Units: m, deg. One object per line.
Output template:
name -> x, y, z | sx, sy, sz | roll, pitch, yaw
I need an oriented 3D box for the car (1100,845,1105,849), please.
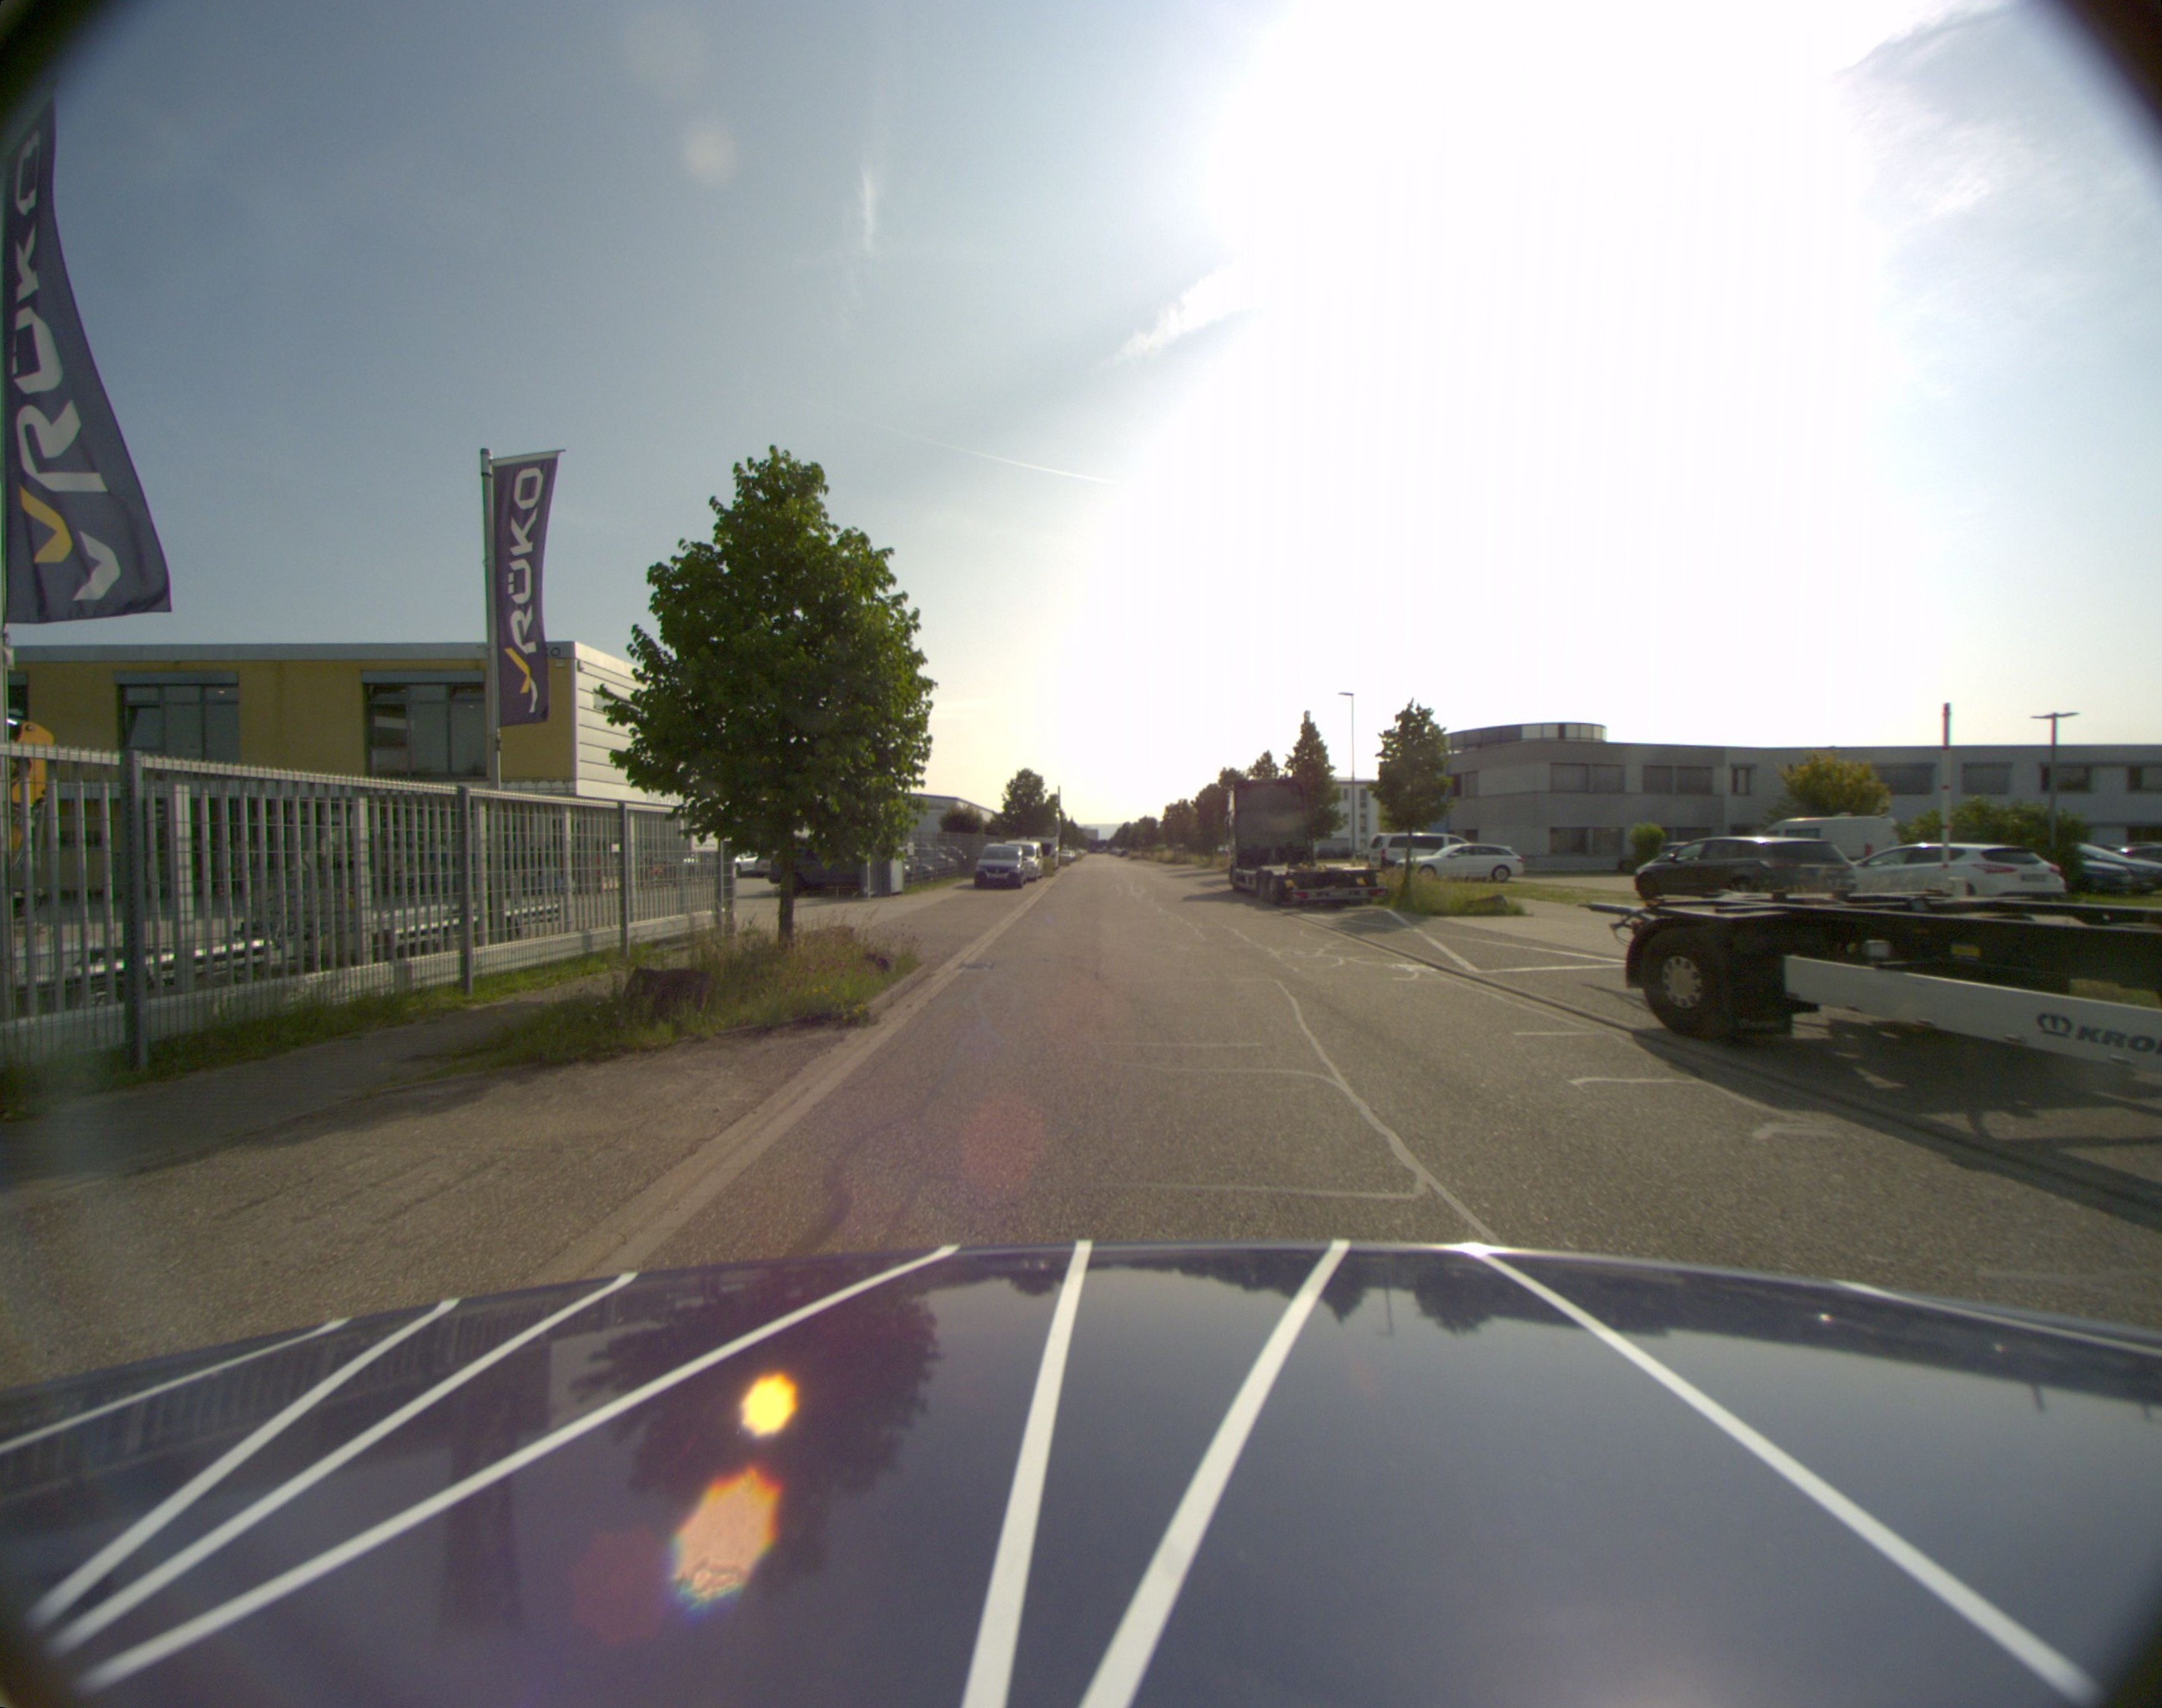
car -> 7.194, -2.292, 250.805 | 1.668, 1.495, 3.540 | -1, 2, 1

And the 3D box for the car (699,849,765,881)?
car -> -19.613, 0.559, 42.924 | 1.894, 1.681, 4.369 | -1, 0, -4

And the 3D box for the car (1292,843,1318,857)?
car -> 26.136, -0.468, 88.759 | 1.910, 1.609, 3.918 | -1, 1, 2

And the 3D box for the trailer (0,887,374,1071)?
trailer -> -9.213, 1.028, 6.693 | 1.949, 1.236, 4.293 | 0, 1, 0

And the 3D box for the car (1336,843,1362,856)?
car -> 31.067, -0.488, 88.235 | 1.758, 1.459, 3.918 | -1, 1, 2

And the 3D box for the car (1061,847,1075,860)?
car -> -1.584, -0.085, 93.100 | 1.668, 1.495, 3.541 | 1, 1, 0

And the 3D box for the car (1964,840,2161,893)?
car -> 30.723, 0.334, 23.570 | 1.709, 1.507, 4.212 | 0, 1, 0

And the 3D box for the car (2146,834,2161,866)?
car -> 57.186, -0.201, 38.156 | 1.801, 1.679, 3.999 | 0, 1, 0

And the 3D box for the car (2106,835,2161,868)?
car -> 55.011, -0.123, 38.104 | 1.801, 1.679, 3.999 | 0, 1, 0

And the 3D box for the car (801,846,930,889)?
car -> -7.855, 0.494, 28.010 | 4.236, 1.487, 1.899 | -1, 0, -3

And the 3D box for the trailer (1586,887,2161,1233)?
trailer -> 5.706, 0.980, 3.517 | 2.135, 1.225, 7.157 | -2, 0, 2

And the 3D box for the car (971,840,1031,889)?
car -> -3.036, 0.347, 29.496 | 1.830, 1.710, 4.247 | -1, 2, 0

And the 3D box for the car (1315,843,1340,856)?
car -> 28.740, -0.483, 88.579 | 1.758, 1.459, 3.918 | -1, 1, 2

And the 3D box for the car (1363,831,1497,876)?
car -> 14.762, -0.041, 32.353 | 4.716, 1.825, 2.103 | 0, 1, 1

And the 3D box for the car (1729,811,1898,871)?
car -> 34.993, -0.637, 36.581 | 1.712, 2.679, 5.742 | -1, 2, -16

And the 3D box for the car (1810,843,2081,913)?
car -> 20.559, 0.484, 18.395 | 1.709, 1.507, 4.212 | 0, 1, 0

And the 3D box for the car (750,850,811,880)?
car -> -16.681, 0.551, 42.401 | 1.894, 1.547, 4.369 | -1, 0, -4

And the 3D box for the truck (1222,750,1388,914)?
truck -> 6.315, -0.634, 23.220 | 2.461, 3.860, 9.801 | -2, 1, 2

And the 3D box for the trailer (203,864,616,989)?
trailer -> -9.451, 0.905, 11.393 | 1.998, 1.303, 4.563 | -1, 2, 2

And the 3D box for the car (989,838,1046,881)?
car -> -2.786, 0.196, 34.580 | 1.998, 1.779, 4.599 | -1, 2, 2

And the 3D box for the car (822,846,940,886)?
car -> -7.890, 0.462, 30.293 | 4.236, 1.487, 1.899 | -1, 0, -3

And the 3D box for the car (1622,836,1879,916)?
car -> 15.705, 0.435, 18.275 | 1.999, 1.677, 4.698 | 0, 1, 0

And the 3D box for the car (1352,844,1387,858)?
car -> 29.139, -0.354, 76.882 | 1.737, 1.364, 4.381 | -1, 1, -2

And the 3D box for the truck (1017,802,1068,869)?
truck -> -2.395, -1.143, 50.753 | 2.752, 3.992, 9.685 | 2, 1, 1

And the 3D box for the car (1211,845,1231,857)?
car -> 16.468, -0.328, 89.198 | 1.758, 1.401, 3.918 | -1, 1, 2

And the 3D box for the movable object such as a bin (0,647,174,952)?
movable object such as a bin -> -18.603, -0.840, 10.303 | 3.324, 4.778, 7.672 | 0, 0, 0

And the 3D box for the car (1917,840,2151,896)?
car -> 28.472, 0.355, 22.960 | 1.709, 1.507, 4.212 | 0, 1, 0

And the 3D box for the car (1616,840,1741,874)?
car -> 27.661, 0.092, 35.405 | 1.580, 1.473, 4.517 | -1, 2, -15

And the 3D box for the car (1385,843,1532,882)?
car -> 14.642, 0.325, 29.662 | 4.738, 1.423, 2.000 | -1, 1, 1

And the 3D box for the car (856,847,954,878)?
car -> -7.867, 0.364, 34.250 | 3.998, 1.363, 1.790 | 0, 1, -4

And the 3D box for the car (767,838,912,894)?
car -> -7.861, 0.370, 25.127 | 4.237, 1.727, 1.898 | -1, 1, -6
